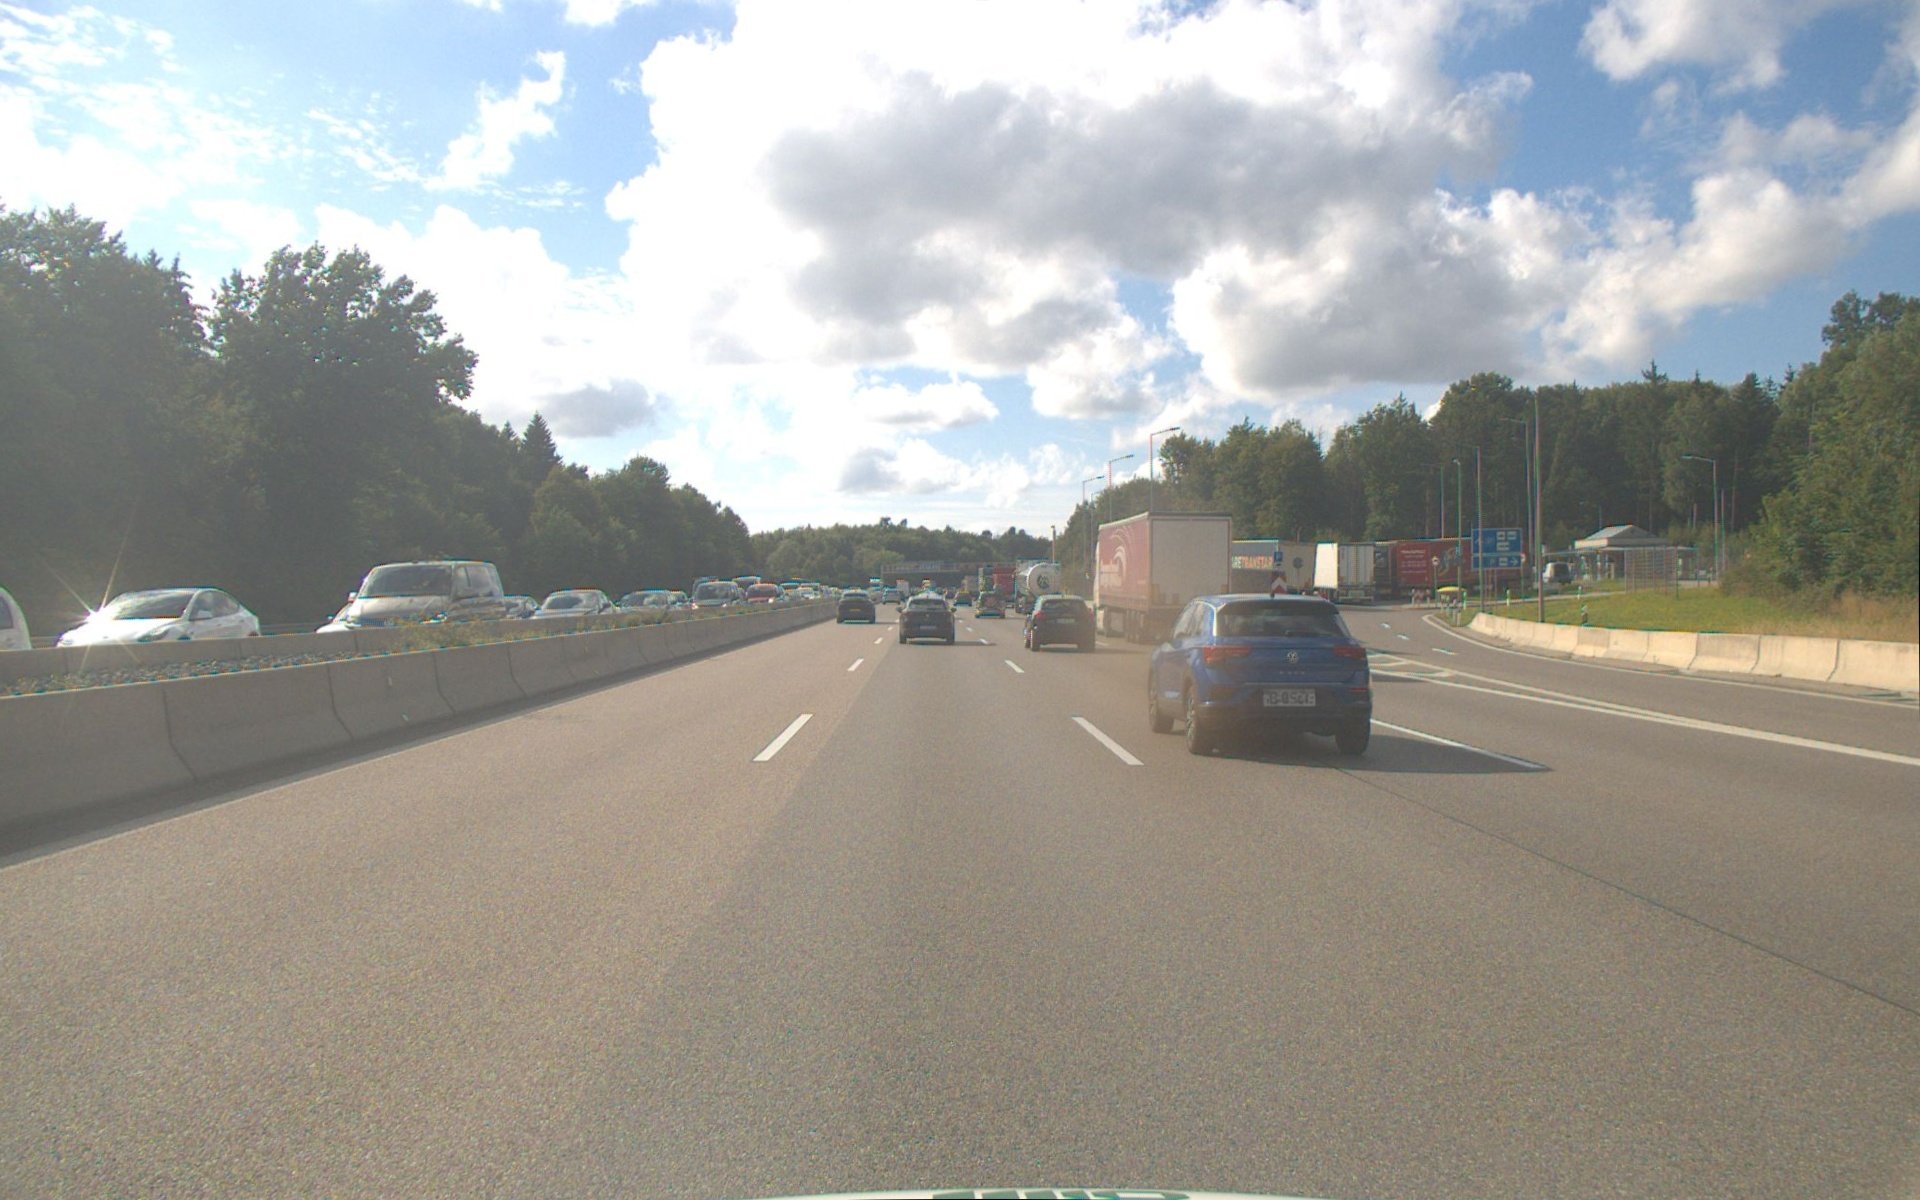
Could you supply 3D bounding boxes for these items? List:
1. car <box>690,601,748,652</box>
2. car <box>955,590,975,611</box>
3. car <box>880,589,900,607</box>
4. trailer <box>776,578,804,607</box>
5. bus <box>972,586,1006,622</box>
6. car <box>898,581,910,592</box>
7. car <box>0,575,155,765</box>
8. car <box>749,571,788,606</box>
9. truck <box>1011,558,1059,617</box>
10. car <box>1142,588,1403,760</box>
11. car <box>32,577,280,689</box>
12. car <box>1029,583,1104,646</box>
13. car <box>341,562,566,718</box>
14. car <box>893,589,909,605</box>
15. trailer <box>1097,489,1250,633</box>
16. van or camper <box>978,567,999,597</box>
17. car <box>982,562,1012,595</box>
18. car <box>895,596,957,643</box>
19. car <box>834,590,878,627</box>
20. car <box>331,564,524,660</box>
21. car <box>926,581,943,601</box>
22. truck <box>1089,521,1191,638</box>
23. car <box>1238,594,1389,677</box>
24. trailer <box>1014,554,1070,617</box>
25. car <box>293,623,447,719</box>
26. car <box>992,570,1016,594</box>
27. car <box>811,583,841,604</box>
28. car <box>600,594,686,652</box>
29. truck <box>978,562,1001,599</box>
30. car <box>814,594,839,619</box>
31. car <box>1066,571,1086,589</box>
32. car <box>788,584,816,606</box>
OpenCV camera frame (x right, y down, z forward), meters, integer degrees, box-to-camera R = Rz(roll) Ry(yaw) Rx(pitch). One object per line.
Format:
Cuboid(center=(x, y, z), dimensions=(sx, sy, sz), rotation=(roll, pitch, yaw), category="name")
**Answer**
Cuboid(center=(-10.063, 1.121, 69.353), dimensions=(1.779, 2.049, 4.451), rotation=(1, -1, 0), category="car")
Cuboid(center=(0.502, 0.083, 169.098), dimensions=(1.953, 2.049, 3.999), rotation=(1, -1, -1), category="car")
Cuboid(center=(-7.592, -0.201, 179.642), dimensions=(2.111, 1.807, 3.999), rotation=(1, -1, -1), category="car")
Cuboid(center=(-17.139, -0.722, 167.390), dimensions=(2.233, 2.834, 8.537), rotation=(1, 0, -2), category="trailer")
Cuboid(center=(1.729, 0.268, 99.734), dimensions=(1.953, 2.049, 3.999), rotation=(1, -2, -1), category="bus")
Cuboid(center=(-8.397, -2.043, 247.575), dimensions=(1.590, 1.496, 3.814), rotation=(1, 0, -1), category="car")
Cuboid(center=(-9.901, 0.649, 15.841), dimensions=(1.953, 1.766, 5.089), rotation=(1, -1, -1), category="car")
Cuboid(center=(-10.292, -0.608, 89.086), dimensions=(1.839, 1.793, 5.290), rotation=(1, 0, -4), category="car")
Cuboid(center=(5.521, -0.838, 122.645), dimensions=(2.984, 4.233, 7.123), rotation=(0, -1, -2), category="truck")
Cuboid(center=(3.142, 0.689, 17.608), dimensions=(1.885, 1.568, 4.645), rotation=(0, 0, 0), category="car")
Cuboid(center=(-13.738, 0.518, 28.644), dimensions=(1.953, 1.763, 4.761), rotation=(1, 0, 0), category="car")
Cuboid(center=(2.915, 0.412, 46.091), dimensions=(1.763, 1.673, 3.999), rotation=(1, -1, -1), category="car")
Cuboid(center=(-6.900, 0.480, 22.973), dimensions=(1.953, 1.954, 3.999), rotation=(1, 1, -1), category="car")
Cuboid(center=(-7.432, -0.396, 208.240), dimensions=(1.954, 2.049, 3.997), rotation=(1, 0, -4), category="car")
Cuboid(center=(6.840, -1.011, 55.439), dimensions=(2.977, 4.106, 13.884), rotation=(1, -1, -1), category="trailer")
Cuboid(center=(3.187, -1.986, 186.571), dimensions=(2.303, 3.199, 5.709), rotation=(1, -2, 0), category="van or camper")
Cuboid(center=(3.564, -2.074, 162.300), dimensions=(2.808, 3.044, 5.148), rotation=(1, -2, 0), category="car")
Cuboid(center=(-1.093, 0.608, 51.592), dimensions=(1.700, 1.389, 3.996), rotation=(1, -1, -4), category="car")
Cuboid(center=(-5.190, 0.401, 82.950), dimensions=(1.953, 1.807, 3.999), rotation=(1, 0, -1), category="car")
Cuboid(center=(-9.573, 0.184, 30.186), dimensions=(1.953, 1.600, 4.815), rotation=(1, 0, 0), category="car")
Cuboid(center=(-2.927, -1.032, 190.902), dimensions=(1.953, 2.049, 3.998), rotation=(-1, -1, -1), category="car")
Cuboid(center=(6.678, -0.651, 62.181), dimensions=(3.018, 4.135, 6.067), rotation=(1, -2, -1), category="truck")
Cuboid(center=(6.944, 0.686, 32.917), dimensions=(1.682, 1.538, 4.296), rotation=(-1, -1, -6), category="car")
Cuboid(center=(5.671, -0.904, 116.667), dimensions=(2.975, 4.086, 12.240), rotation=(0, -1, -2), category="trailer")
Cuboid(center=(-13.632, 1.587, 38.494), dimensions=(1.953, 2.049, 4.458), rotation=(1, -1, 0), category="car")
Cuboid(center=(4.033, -1.658, 152.200), dimensions=(1.953, 2.049, 3.998), rotation=(1, -2, -1), category="car")
Cuboid(center=(-11.064, -0.561, 136.586), dimensions=(1.953, 1.600, 5.329), rotation=(2, 0, 0), category="car")
Cuboid(center=(-10.297, 0.768, 54.045), dimensions=(1.953, 1.790, 4.458), rotation=(1, -1, 0), category="car")
Cuboid(center=(3.180, -2.045, 179.987), dimensions=(2.310, 3.635, 11.264), rotation=(1, -1, 0), category="truck")
Cuboid(center=(-11.756, 0.598, 145.974), dimensions=(1.953, 2.049, 4.675), rotation=(1, -1, -1), category="car")
Cuboid(center=(13.857, -2.429, 197.201), dimensions=(1.953, 2.049, 3.999), rotation=(-1, 0, -1), category="car")
Cuboid(center=(-12.225, -0.403, 127.992), dimensions=(1.729, 1.600, 4.357), rotation=(1, 0, 0), category="car")
